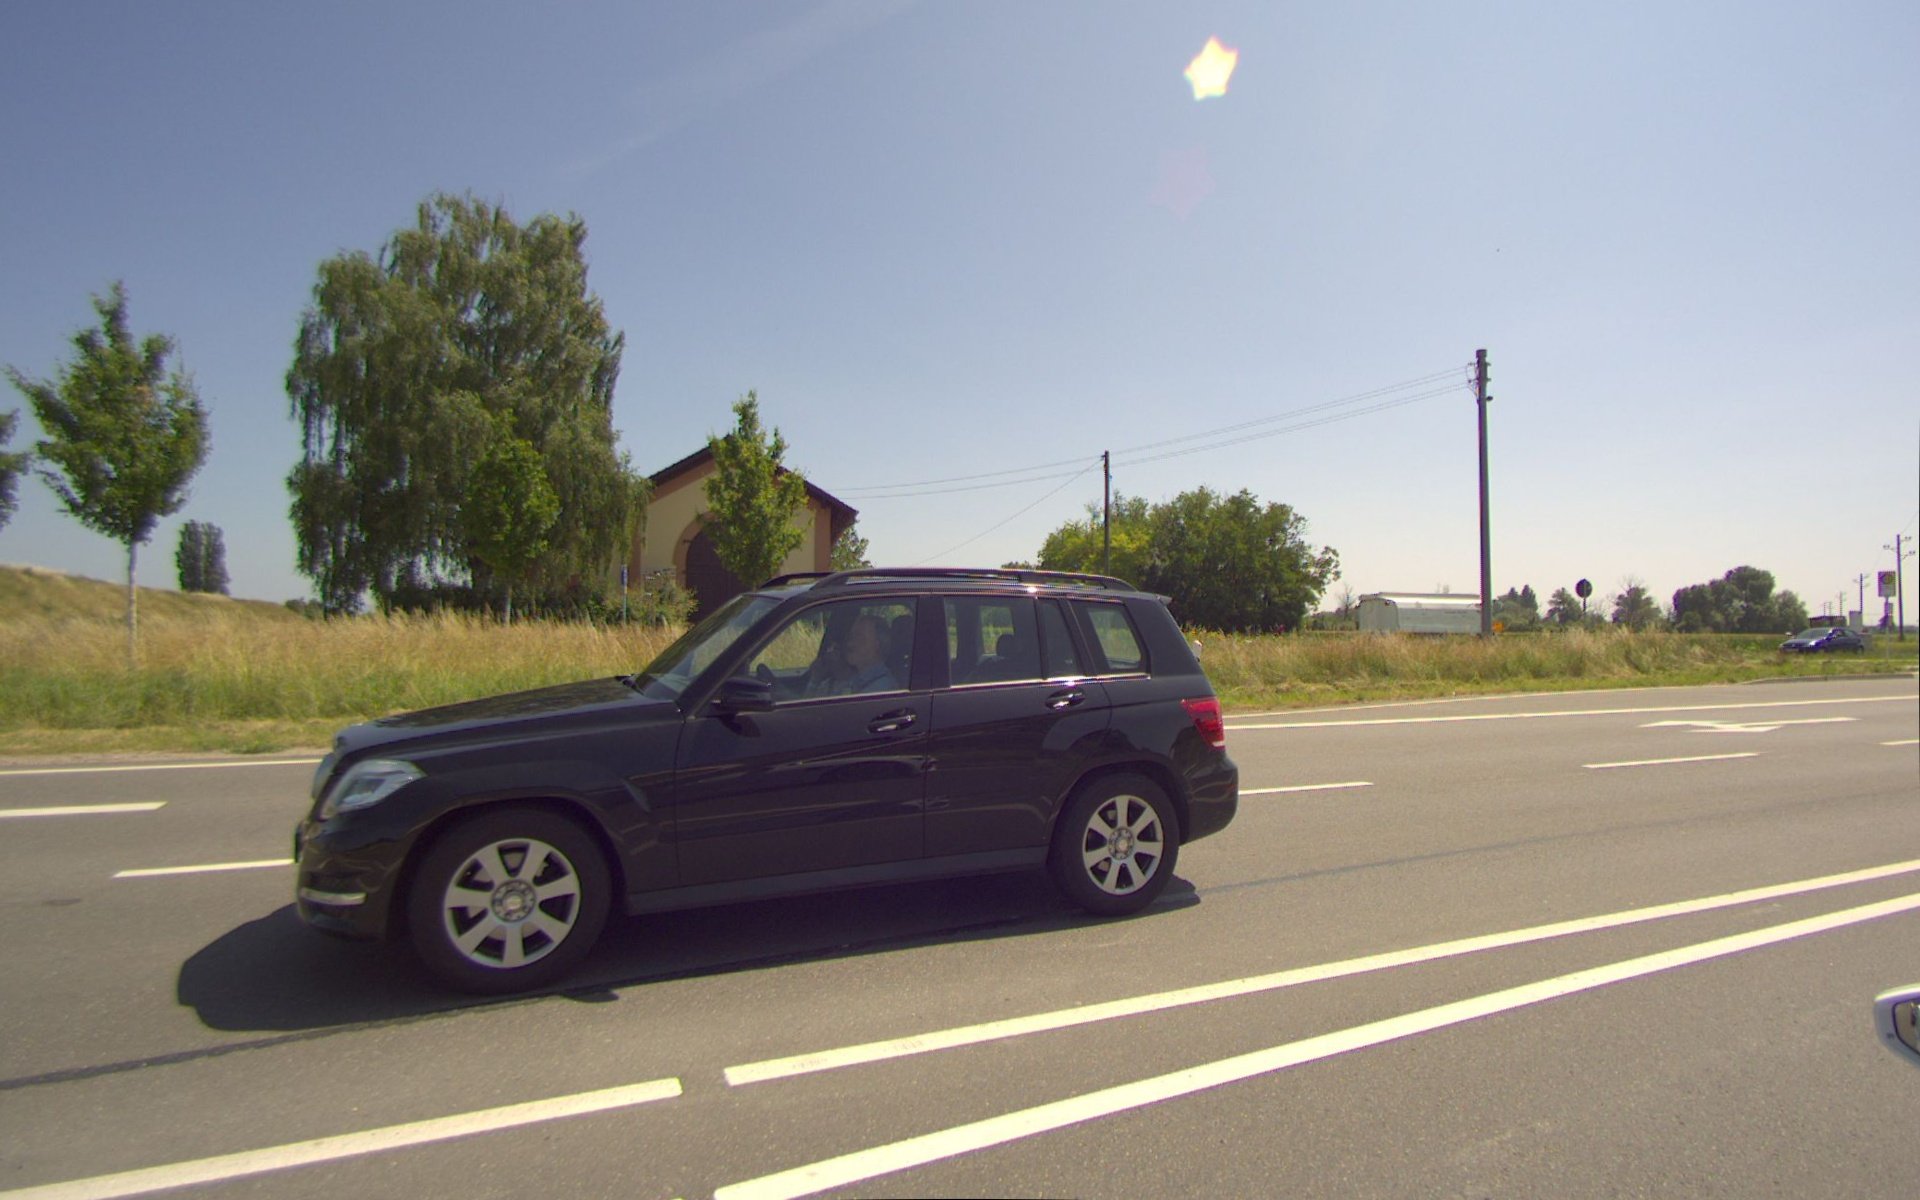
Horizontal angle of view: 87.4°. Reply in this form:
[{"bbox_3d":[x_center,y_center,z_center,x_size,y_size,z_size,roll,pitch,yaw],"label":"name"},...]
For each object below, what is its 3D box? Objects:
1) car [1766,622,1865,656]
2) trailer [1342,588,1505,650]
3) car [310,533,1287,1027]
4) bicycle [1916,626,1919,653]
[{"bbox_3d":[39.349,1.788,46.214,3.776,1.405,1.673,2,-1,-16],"label":"car"},{"bbox_3d":[19.895,0.814,43.150,6.285,2.488,2.675,1,0,-20],"label":"trailer"},{"bbox_3d":[-0.626,0.668,5.157,4.268,1.672,1.860,1,-1,-25],"label":"car"},{"bbox_3d":[44.890,1.832,46.309,1.485,1.264,0.491,2,0,-15],"label":"bicycle"}]
